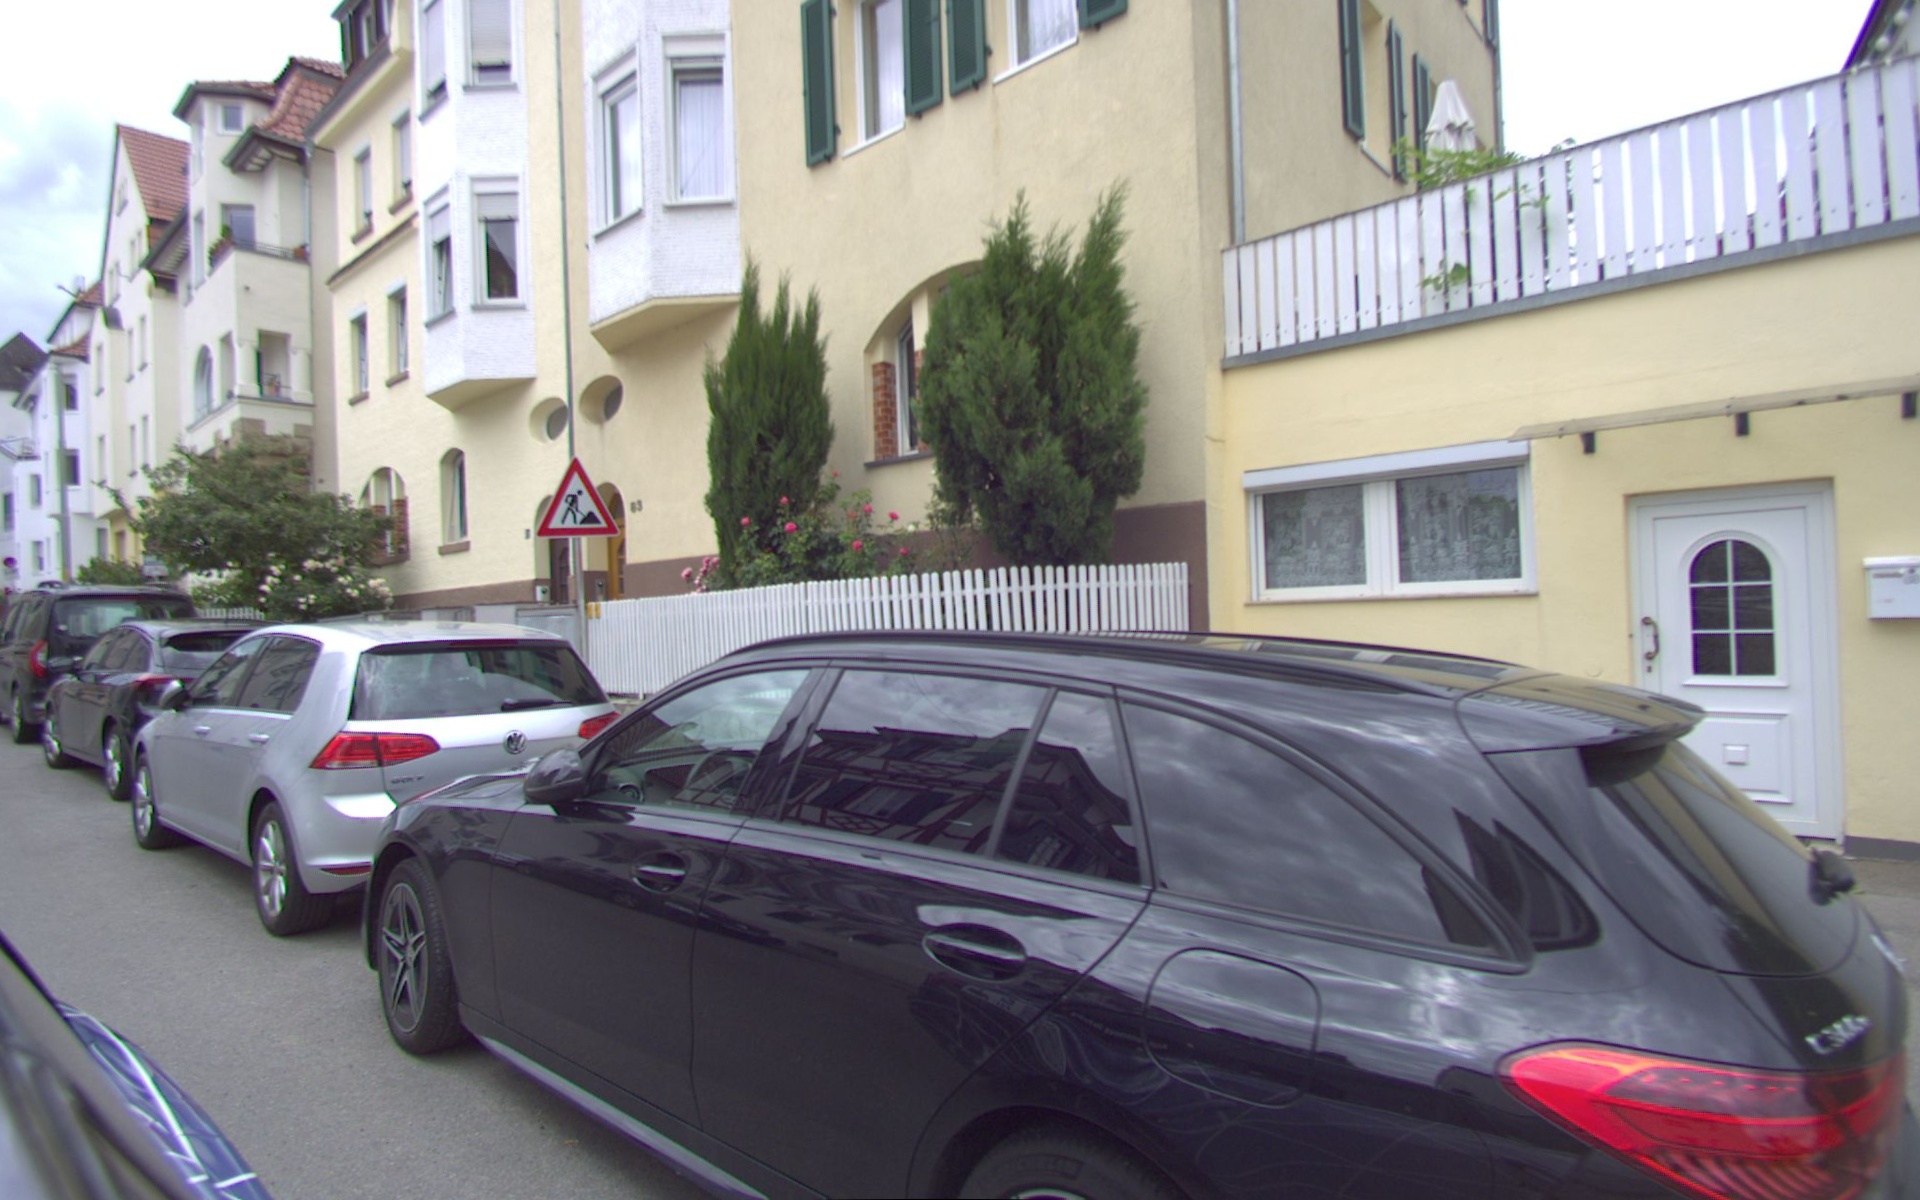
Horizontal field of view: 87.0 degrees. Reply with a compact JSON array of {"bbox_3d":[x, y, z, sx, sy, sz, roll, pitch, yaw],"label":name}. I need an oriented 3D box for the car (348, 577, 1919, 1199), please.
[{"bbox_3d":[0.003,0.754,2.895,4.326,1.491,1.784,-1,-1,41],"label":"car"}]

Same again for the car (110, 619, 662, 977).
[{"bbox_3d":[-3.661,0.841,6.101,4.121,1.439,1.622,-1,-1,41],"label":"car"}]

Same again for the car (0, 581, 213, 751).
[{"bbox_3d":[-11.149,0.717,12.812,4.145,1.810,1.732,0,-1,39],"label":"car"}]

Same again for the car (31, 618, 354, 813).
[{"bbox_3d":[-7.153,0.896,9.311,3.701,1.409,1.622,0,-2,41],"label":"car"}]
